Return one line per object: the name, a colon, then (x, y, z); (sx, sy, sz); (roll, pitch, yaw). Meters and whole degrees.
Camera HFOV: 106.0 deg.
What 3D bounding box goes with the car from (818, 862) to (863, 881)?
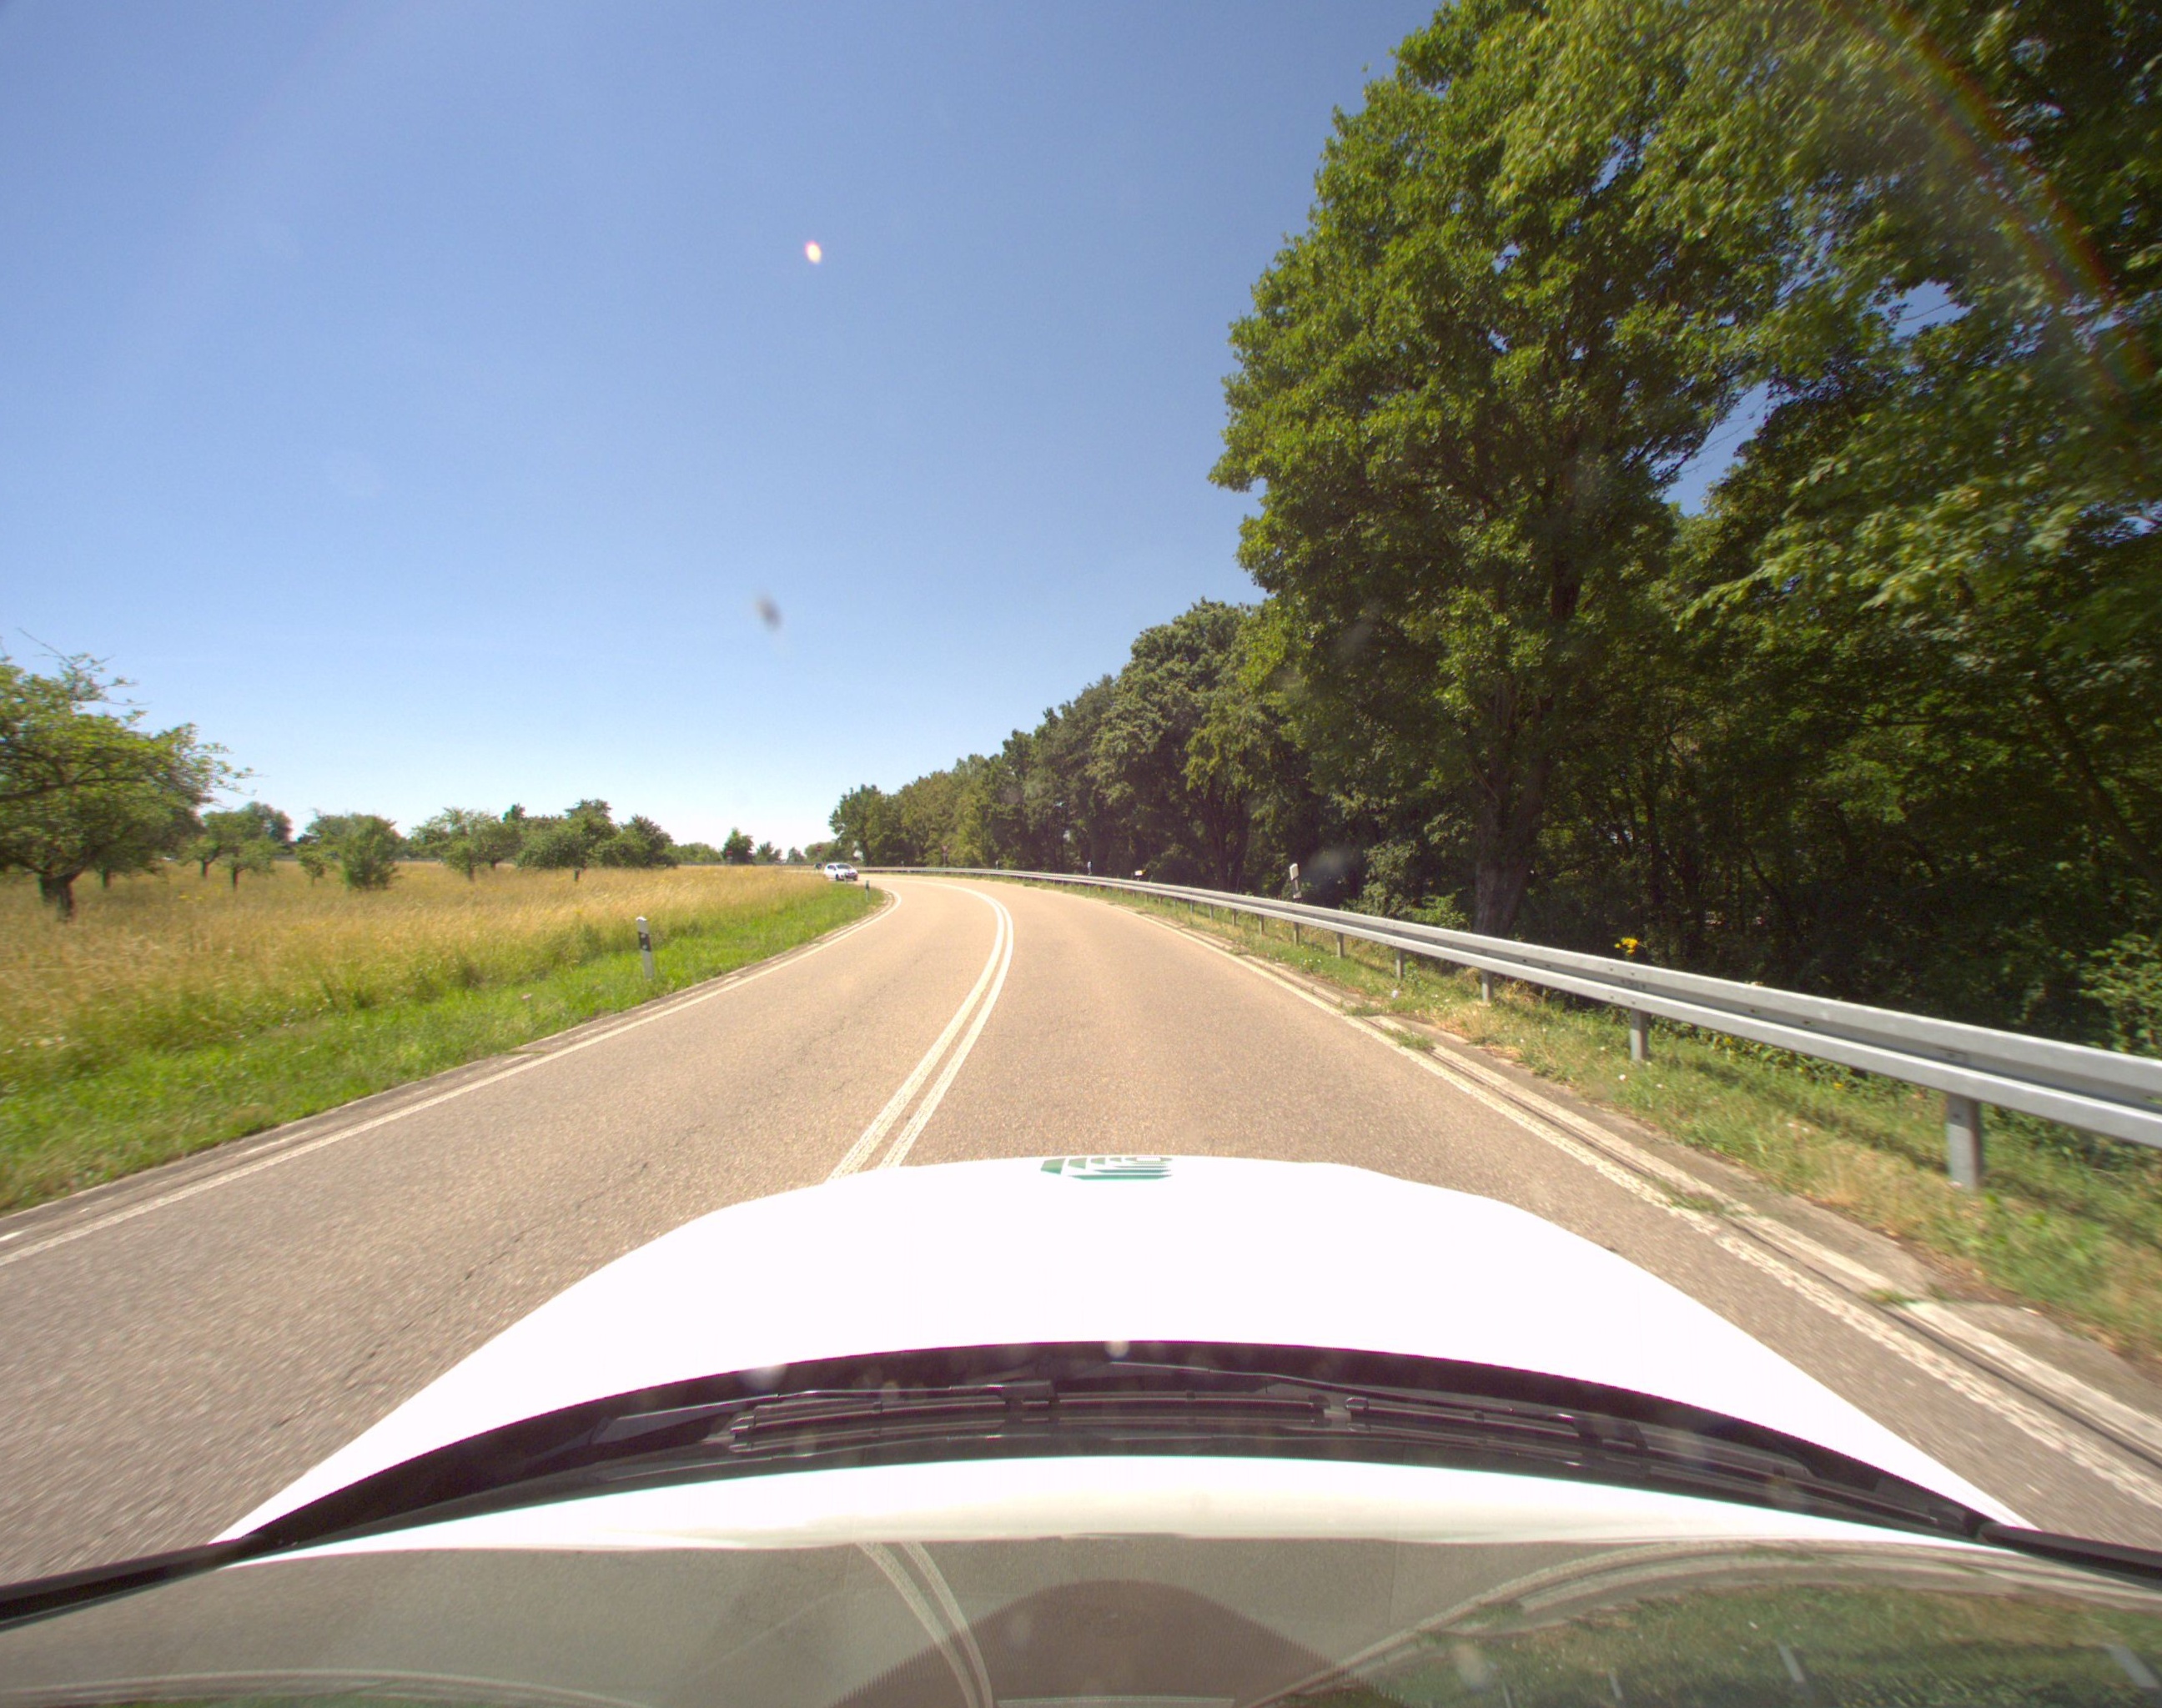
car: (-19.913, 1.427, 67.485); (4.120, 1.507, 1.839); (-1, -1, 45)
